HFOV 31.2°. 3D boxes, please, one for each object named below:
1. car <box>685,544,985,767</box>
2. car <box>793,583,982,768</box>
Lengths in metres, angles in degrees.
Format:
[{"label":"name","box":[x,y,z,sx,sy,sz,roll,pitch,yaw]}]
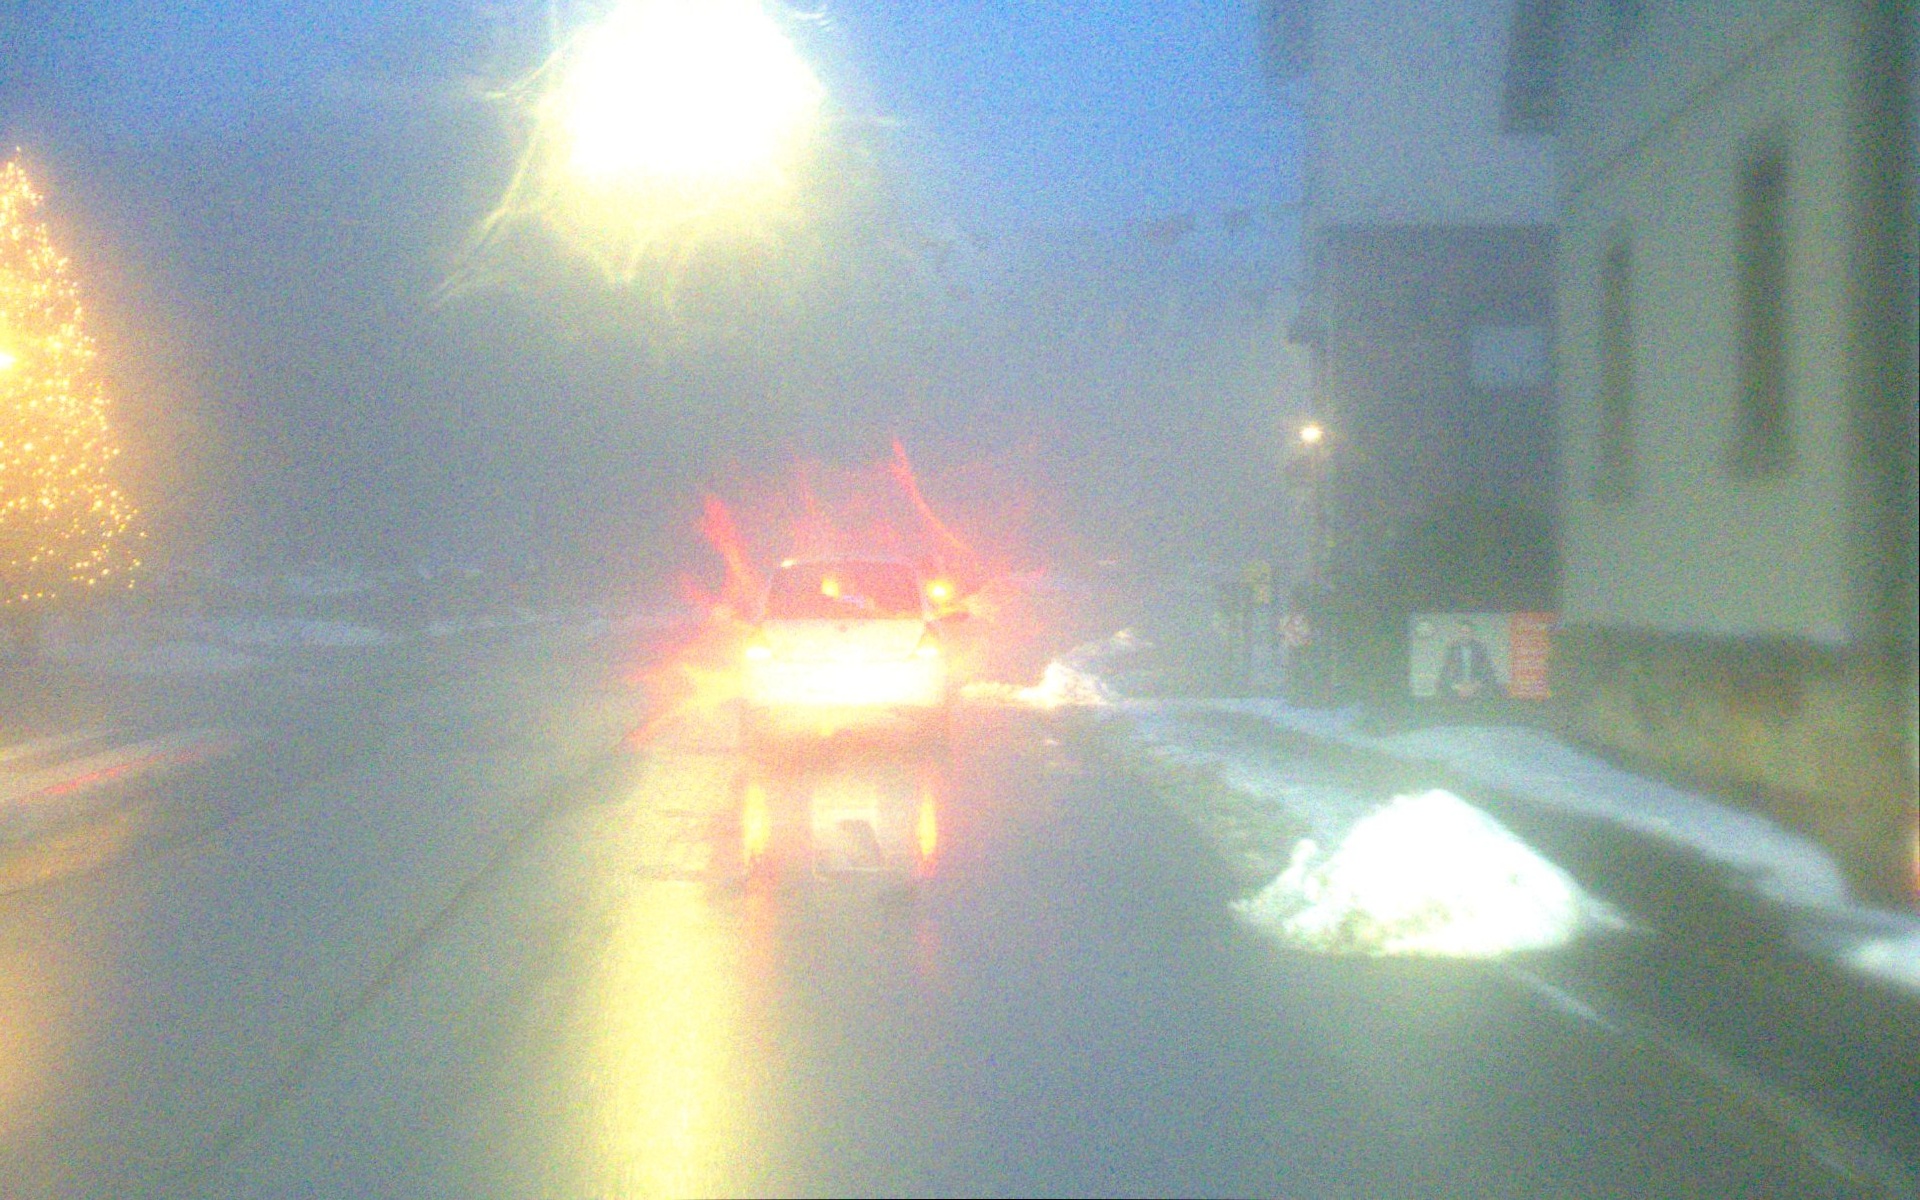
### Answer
[{"label":"car","box":[-0.900,0.468,27.116,1.994,1.503,3.999,4,-2,2]},{"label":"car","box":[-0.824,0.928,41.461,1.993,2.007,3.999,4,-2,1]}]
